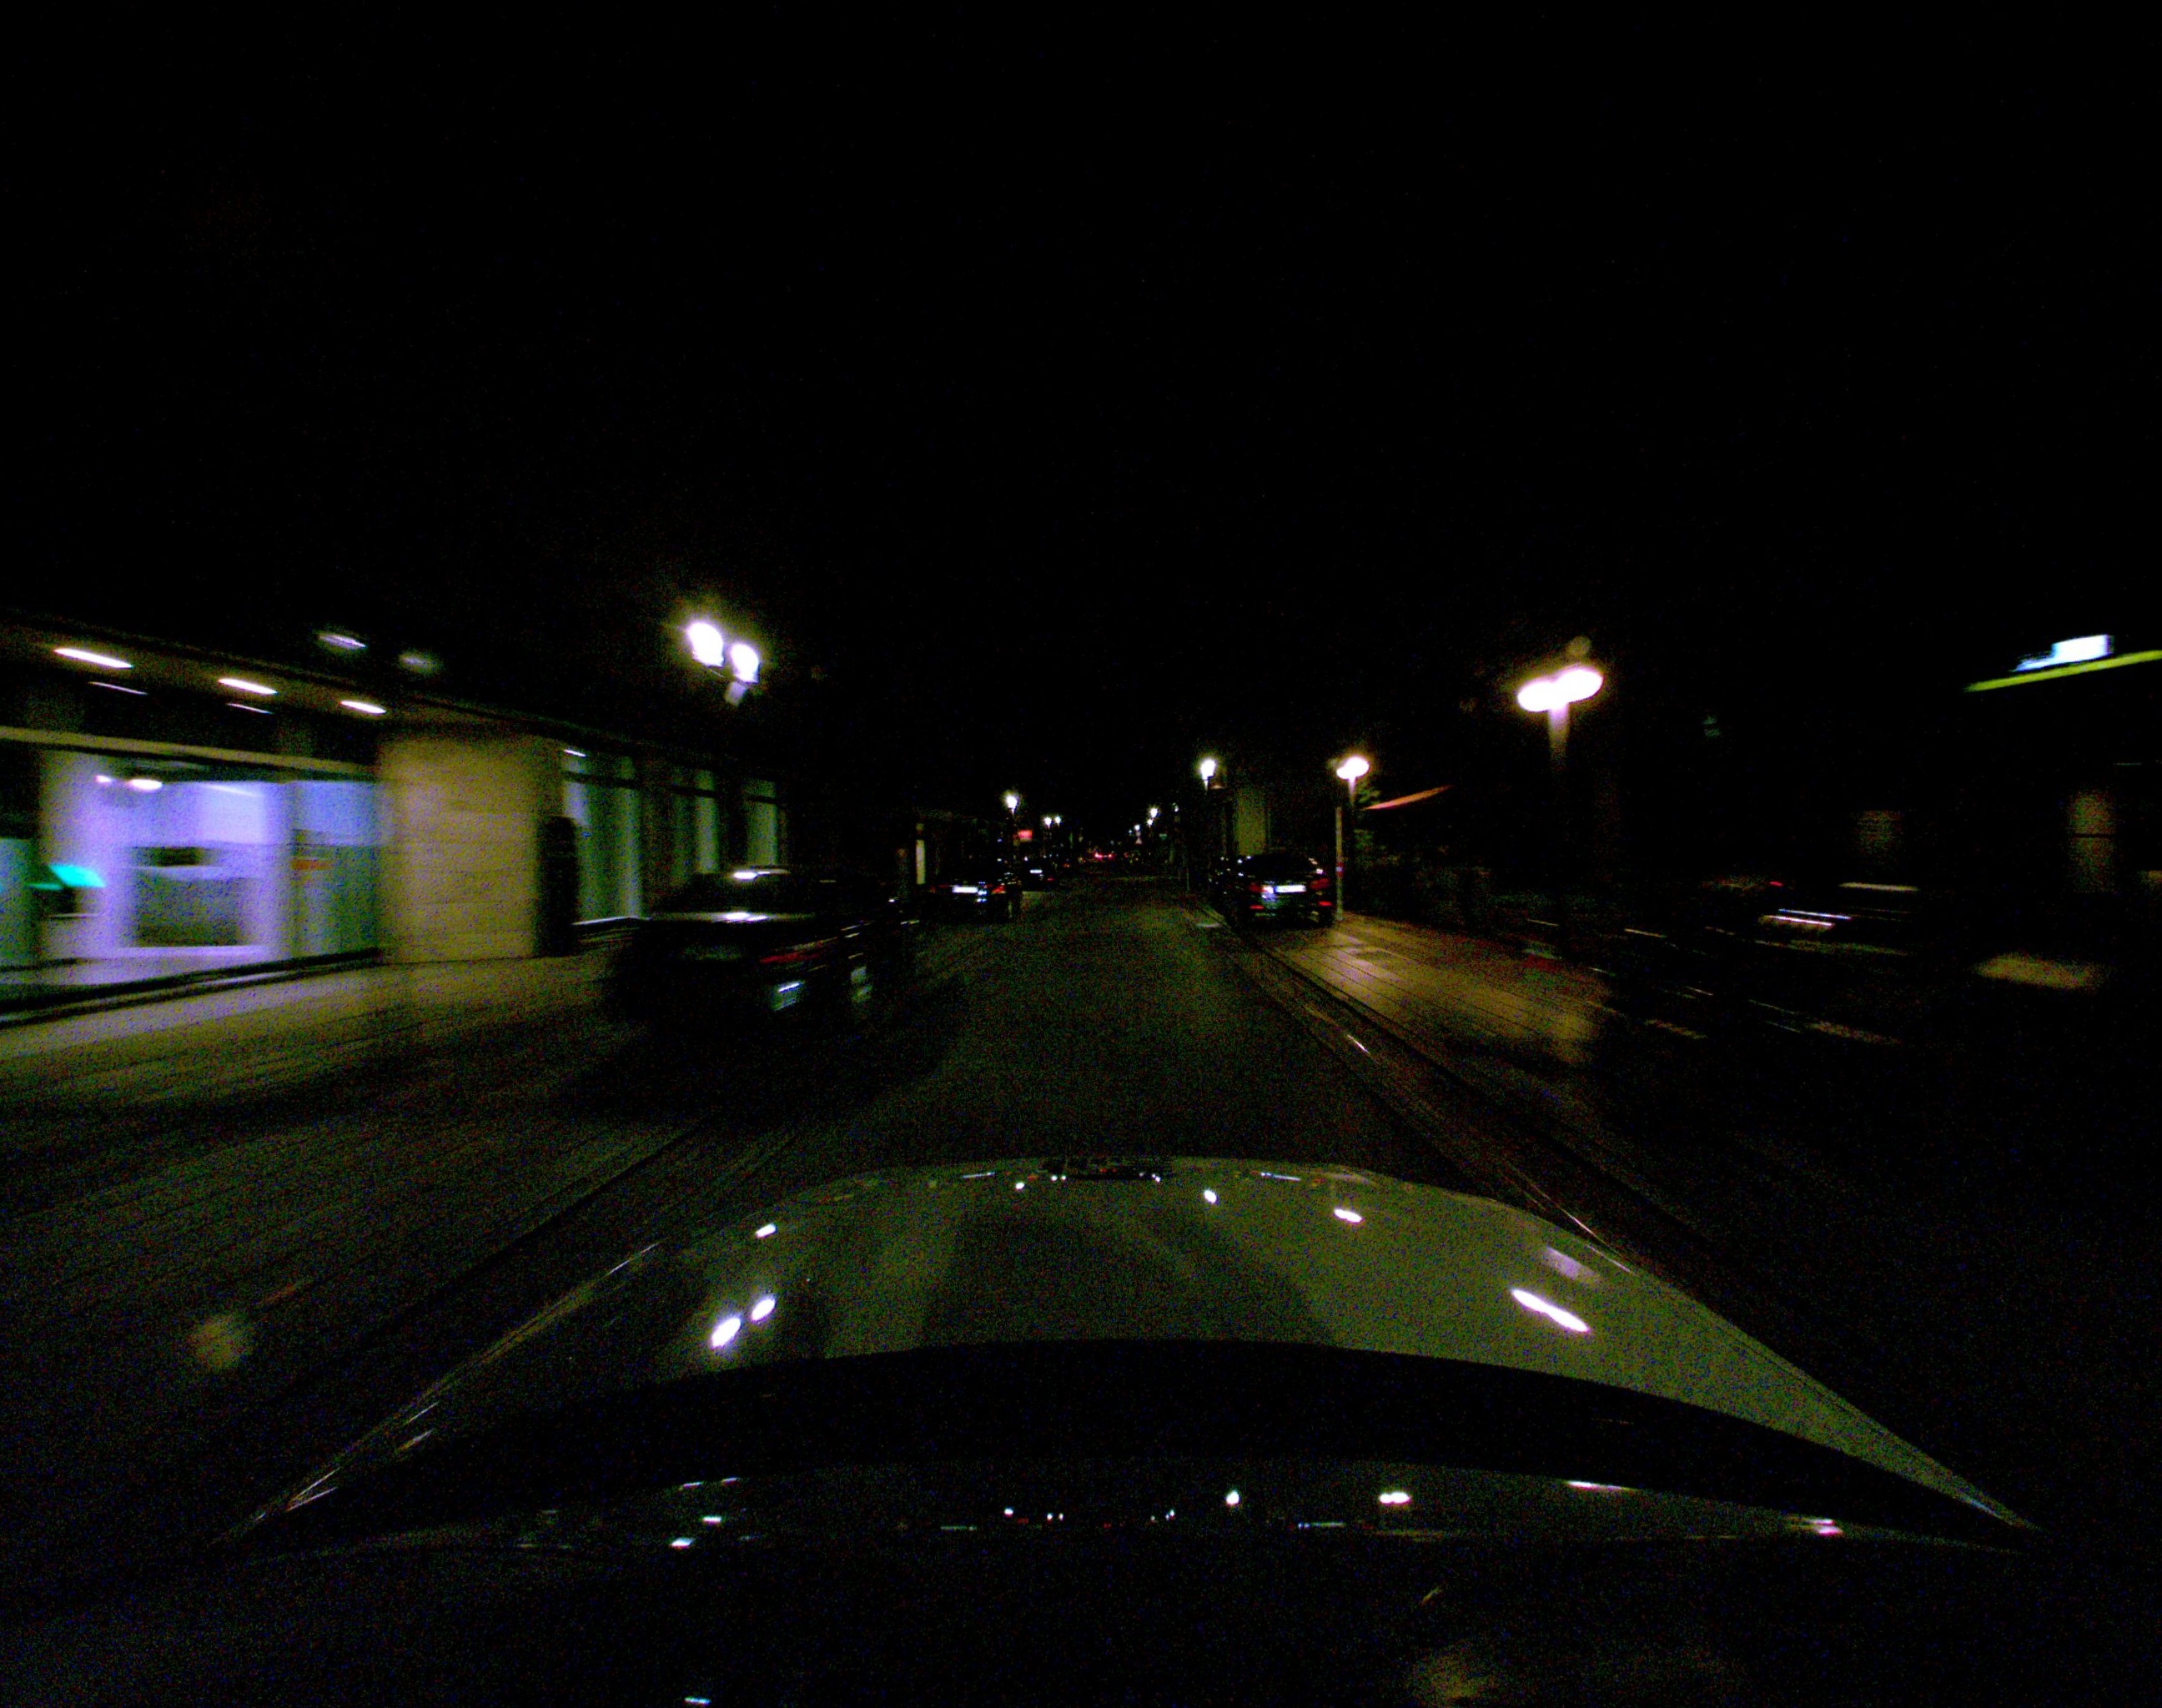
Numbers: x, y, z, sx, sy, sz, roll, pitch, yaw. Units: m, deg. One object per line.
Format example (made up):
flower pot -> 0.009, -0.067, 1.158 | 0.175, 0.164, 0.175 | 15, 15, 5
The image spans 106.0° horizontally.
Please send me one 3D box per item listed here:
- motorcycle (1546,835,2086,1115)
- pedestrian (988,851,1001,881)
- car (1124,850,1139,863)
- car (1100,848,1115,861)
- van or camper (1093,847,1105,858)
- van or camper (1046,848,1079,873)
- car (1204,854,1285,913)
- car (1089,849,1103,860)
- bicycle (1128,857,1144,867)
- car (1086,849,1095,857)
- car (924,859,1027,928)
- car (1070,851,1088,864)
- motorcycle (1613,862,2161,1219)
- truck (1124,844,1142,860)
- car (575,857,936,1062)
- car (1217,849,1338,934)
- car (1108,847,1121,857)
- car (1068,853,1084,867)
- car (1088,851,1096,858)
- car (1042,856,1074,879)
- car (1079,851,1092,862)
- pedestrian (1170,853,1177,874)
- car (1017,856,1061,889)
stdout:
motorcycle -> 4.102, 0.635, 4.836 | 2.243, 1.391, 0.665 | -2, 0, 26
pedestrian -> -5.204, 0.718, 49.278 | 0.619, 1.745, 1.023 | -1, 0, 2
car -> 6.413, 0.280, 104.160 | 1.782, 1.491, 4.061 | -3, 0, 2
car -> 3.863, 0.098, 118.253 | 1.987, 1.823, 4.000 | -1, 0, 0
van or camper -> 3.929, -0.407, 181.591 | 2.105, 2.317, 4.254 | -3, 0, -5
van or camper -> -1.425, 0.473, 64.737 | 1.836, 1.942, 5.164 | -1, 0, 7
car -> 4.398, 0.734, 22.440 | 1.653, 1.377, 4.109 | -3, 0, 5
car -> 2.447, 0.089, 134.088 | 1.989, 1.702, 3.995 | -1, 0, -3
bicycle -> 6.311, 0.875, 92.829 | 1.749, 1.062, 0.346 | -2, 0, -2
car -> 2.362, -0.335, 200.187 | 1.836, 1.901, 3.840 | -2, 0, -4
car -> -2.463, 0.881, 20.104 | 1.838, 1.464, 4.624 | 0, 0, 1
car -> -0.168, 0.417, 96.475 | 2.012, 1.488, 5.008 | 1, 0, 1
motorcycle -> 3.668, 0.709, 3.576 | 2.142, 1.297, 0.519 | -2, 0, 39
truck -> 7.658, -0.295, 119.664 | 2.328, 2.312, 5.782 | -2, 0, 1
car -> -2.814, 0.791, 8.315 | 1.894, 1.470, 4.523 | -1, 0, -1
car -> 3.943, 0.686, 17.087 | 1.745, 1.464, 4.473 | -3, 0, 5
car -> 6.359, -0.319, 155.559 | 1.812, 1.828, 4.340 | -2, 0, -5
car -> -0.519, 0.694, 90.854 | 1.722, 1.476, 3.847 | 0, 0, 1
car -> 2.568, 0.098, 194.323 | 1.528, 1.418, 3.840 | -2, 0, -4
car -> -1.432, 0.848, 52.371 | 1.710, 1.413, 4.388 | 0, 0, 2
car -> 0.710, 0.364, 124.533 | 1.670, 1.543, 4.224 | -1, 0, -4
pedestrian -> 6.725, 0.676, 59.169 | 0.498, 1.547, 0.481 | 0, 0, 8
car -> -1.906, 0.830, 38.128 | 1.791, 1.478, 4.322 | 0, 0, 1
